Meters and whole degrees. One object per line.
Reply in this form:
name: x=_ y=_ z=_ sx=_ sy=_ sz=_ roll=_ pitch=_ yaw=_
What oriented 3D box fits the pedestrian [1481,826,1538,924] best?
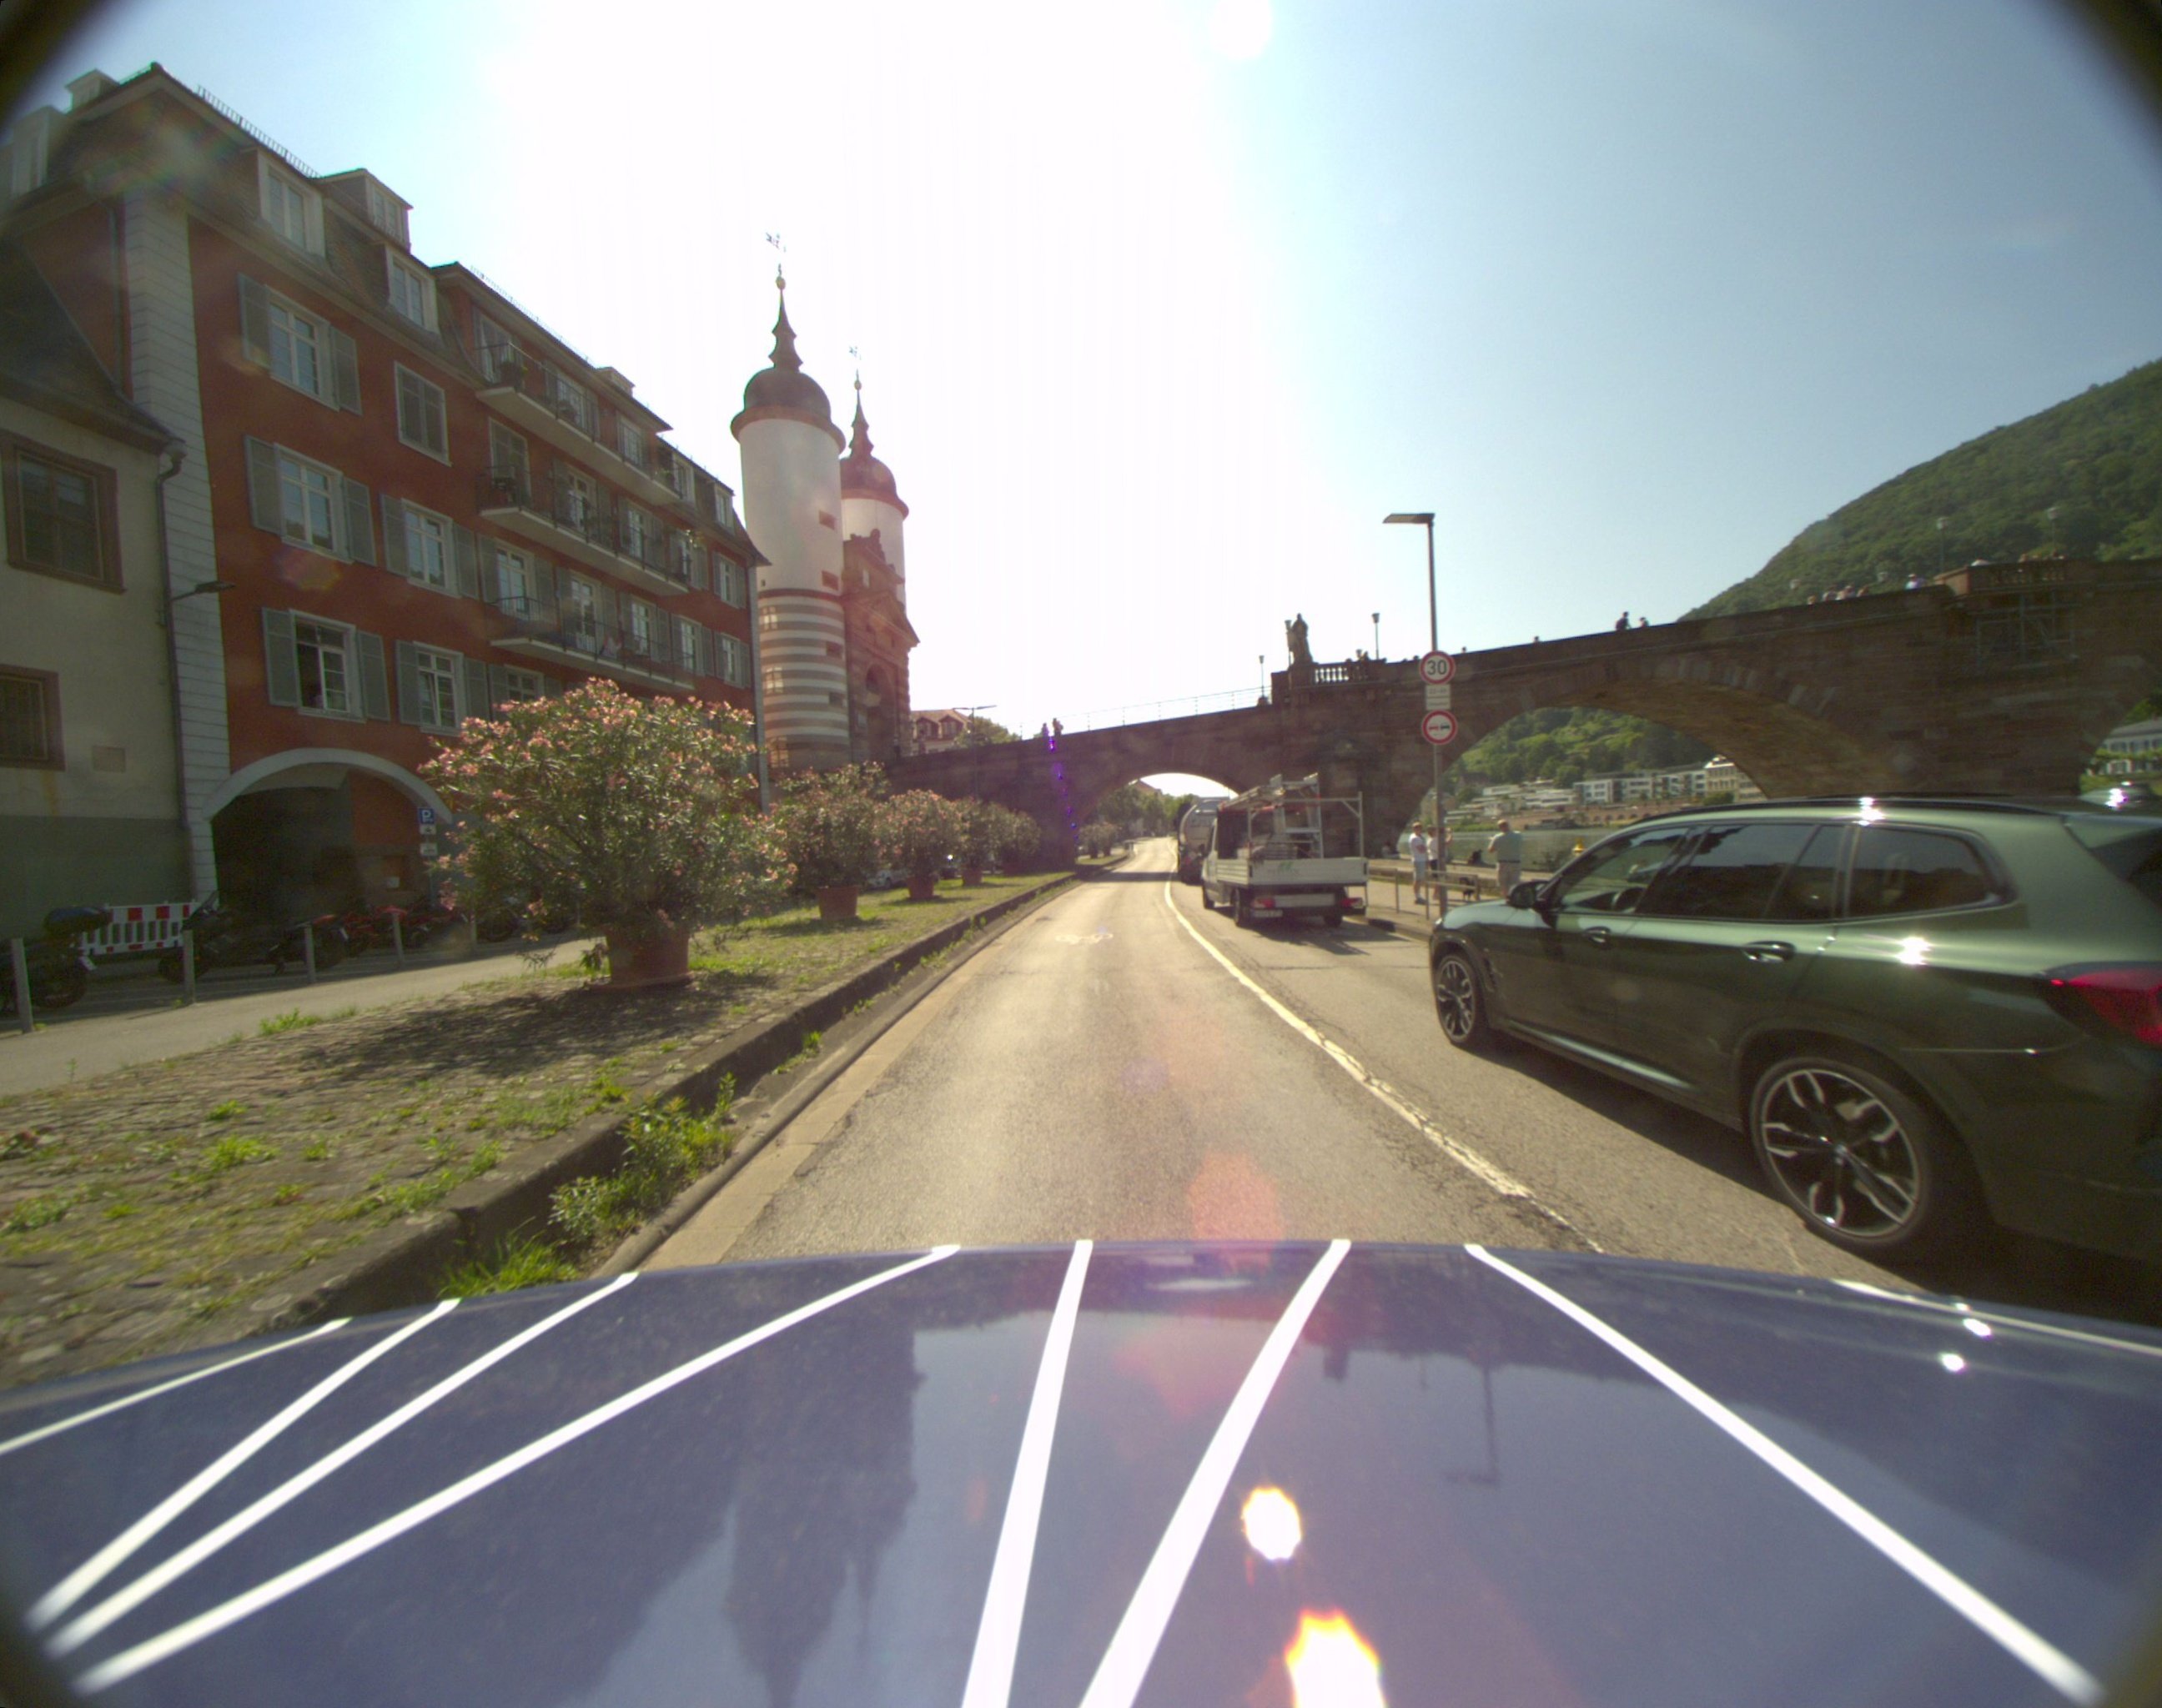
pedestrian: x=7.799 y=0.373 z=13.826 sx=0.758 sy=1.712 sz=0.543 roll=-3 pitch=1 yaw=-32

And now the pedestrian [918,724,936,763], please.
pedestrian: x=-8.363 y=-5.995 z=41.266 sx=0.639 sy=2.003 sz=0.707 roll=-1 pitch=3 yaw=8

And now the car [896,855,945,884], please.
car: x=-8.863 y=0.823 z=42.332 sx=1.557 sy=1.411 sz=3.570 roll=-2 pitch=1 yaw=7

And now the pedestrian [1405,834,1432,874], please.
pedestrian: x=14.474 y=-0.007 z=32.575 sx=0.790 sy=1.641 sz=0.774 roll=-3 pitch=0 yaw=3

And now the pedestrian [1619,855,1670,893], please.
pedestrian: x=17.377 y=0.608 z=23.440 sx=0.967 sy=1.124 sz=0.831 roll=-2 pitch=1 yaw=10

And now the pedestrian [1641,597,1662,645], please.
pedestrian: x=26.138 y=-10.662 z=34.834 sx=0.467 sy=2.003 sz=0.639 roll=-2 pitch=2 yaw=1

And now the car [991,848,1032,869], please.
car: x=-5.333 y=0.311 z=58.508 sx=1.720 sy=1.403 sz=3.886 roll=-1 pitch=2 yaw=18

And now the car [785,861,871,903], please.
car: x=-10.951 y=1.179 z=33.139 sx=1.674 sy=1.533 sz=3.814 roll=-3 pitch=1 yaw=15

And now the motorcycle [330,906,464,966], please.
motorcycle: x=-13.754 y=1.628 z=15.361 sx=1.935 sy=0.981 sz=0.546 roll=-3 pitch=1 yaw=-38

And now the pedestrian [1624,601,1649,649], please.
pedestrian: x=25.506 y=-10.495 z=34.883 sx=0.694 sy=2.003 sz=0.625 roll=-2 pitch=3 yaw=1

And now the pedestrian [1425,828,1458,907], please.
pedestrian: x=8.282 y=0.300 z=17.439 sx=0.543 sy=1.782 sz=0.823 roll=-2 pitch=1 yaw=32

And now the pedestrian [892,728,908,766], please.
pedestrian: x=-9.947 y=-5.859 z=41.765 sx=0.579 sy=2.003 sz=0.707 roll=-1 pitch=3 yaw=8

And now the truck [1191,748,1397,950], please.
truck: x=4.007 y=-0.091 z=16.122 sx=2.382 sy=3.242 sz=7.611 roll=-1 pitch=0 yaw=2

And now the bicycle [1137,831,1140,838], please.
bicycle: x=11.148 y=-3.740 z=146.946 sx=0.476 sy=1.255 sz=2.163 roll=0 pitch=2 yaw=9

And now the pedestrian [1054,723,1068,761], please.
pedestrian: x=-1.119 y=-6.234 z=42.335 sx=0.639 sy=2.003 sz=0.707 roll=-1 pitch=3 yaw=8

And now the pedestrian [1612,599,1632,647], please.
pedestrian: x=24.838 y=-10.611 z=34.904 sx=0.467 sy=2.003 sz=0.639 roll=-2 pitch=2 yaw=1

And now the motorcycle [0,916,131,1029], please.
motorcycle: x=-13.466 y=1.493 z=9.280 sx=2.201 sy=1.260 sz=0.627 roll=-2 pitch=1 yaw=-30

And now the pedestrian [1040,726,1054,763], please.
pedestrian: x=-1.939 y=-6.246 z=43.373 sx=0.639 sy=2.003 sz=0.707 roll=-1 pitch=3 yaw=8

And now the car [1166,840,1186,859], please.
car: x=9.796 y=-0.479 z=78.260 sx=1.878 sy=1.817 sz=4.545 roll=0 pitch=2 yaw=9

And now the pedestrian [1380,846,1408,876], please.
pedestrian: x=13.567 y=0.290 z=32.987 sx=0.790 sy=1.222 sz=1.026 roll=-3 pitch=0 yaw=3

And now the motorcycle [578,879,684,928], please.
motorcycle: x=-13.023 y=1.395 z=22.036 sx=2.547 sy=1.226 sz=0.840 roll=-2 pitch=1 yaw=-35

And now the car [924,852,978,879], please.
car: x=-8.041 y=0.679 z=47.443 sx=1.778 sy=1.429 sz=4.494 roll=-2 pitch=2 yaw=10

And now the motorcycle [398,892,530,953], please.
motorcycle: x=-13.736 y=1.494 z=16.998 sx=2.202 sy=1.141 sz=0.626 roll=-3 pitch=1 yaw=-38

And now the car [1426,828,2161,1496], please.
car: x=3.630 y=0.745 z=3.719 sx=1.867 sy=1.671 sz=4.454 roll=-1 pitch=0 yaw=0

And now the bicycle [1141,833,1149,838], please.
bicycle: x=13.048 y=-3.814 z=155.054 sx=1.752 sy=1.127 sz=0.464 roll=1 pitch=2 yaw=7

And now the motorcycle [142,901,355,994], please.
motorcycle: x=-13.584 y=1.486 z=12.513 sx=2.186 sy=1.260 sz=0.781 roll=-2 pitch=1 yaw=-30

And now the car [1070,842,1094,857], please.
car: x=0.109 y=-0.504 z=81.545 sx=1.614 sy=1.406 sz=3.905 roll=-2 pitch=2 yaw=13

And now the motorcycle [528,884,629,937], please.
motorcycle: x=-13.361 y=1.470 z=20.244 sx=2.157 sy=1.226 sz=0.840 roll=-2 pitch=1 yaw=-35

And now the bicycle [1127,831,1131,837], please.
bicycle: x=8.482 y=-3.529 z=134.231 sx=0.344 sy=1.106 sz=1.920 roll=-1 pitch=2 yaw=15

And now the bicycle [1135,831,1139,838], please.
bicycle: x=10.696 y=-3.757 z=144.729 sx=0.476 sy=1.255 sz=2.163 roll=0 pitch=2 yaw=9

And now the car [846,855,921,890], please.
car: x=-9.743 y=0.891 z=37.843 sx=1.896 sy=1.484 sz=4.419 roll=-1 pitch=1 yaw=11

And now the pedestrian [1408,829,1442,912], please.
pedestrian: x=7.587 y=0.359 z=16.749 sx=0.520 sy=1.782 sz=0.823 roll=-2 pitch=1 yaw=32

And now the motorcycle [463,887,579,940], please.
motorcycle: x=-13.568 y=1.421 z=18.457 sx=2.202 sy=1.070 sz=0.626 roll=-3 pitch=1 yaw=-38

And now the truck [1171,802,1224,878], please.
truck: x=6.163 y=-0.726 z=40.847 sx=2.529 sy=3.727 sz=6.248 roll=0 pitch=1 yaw=6

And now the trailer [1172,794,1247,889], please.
trailer: x=5.656 y=-0.542 z=35.026 sx=2.529 sy=3.623 sz=11.534 roll=-1 pitch=1 yaw=5
